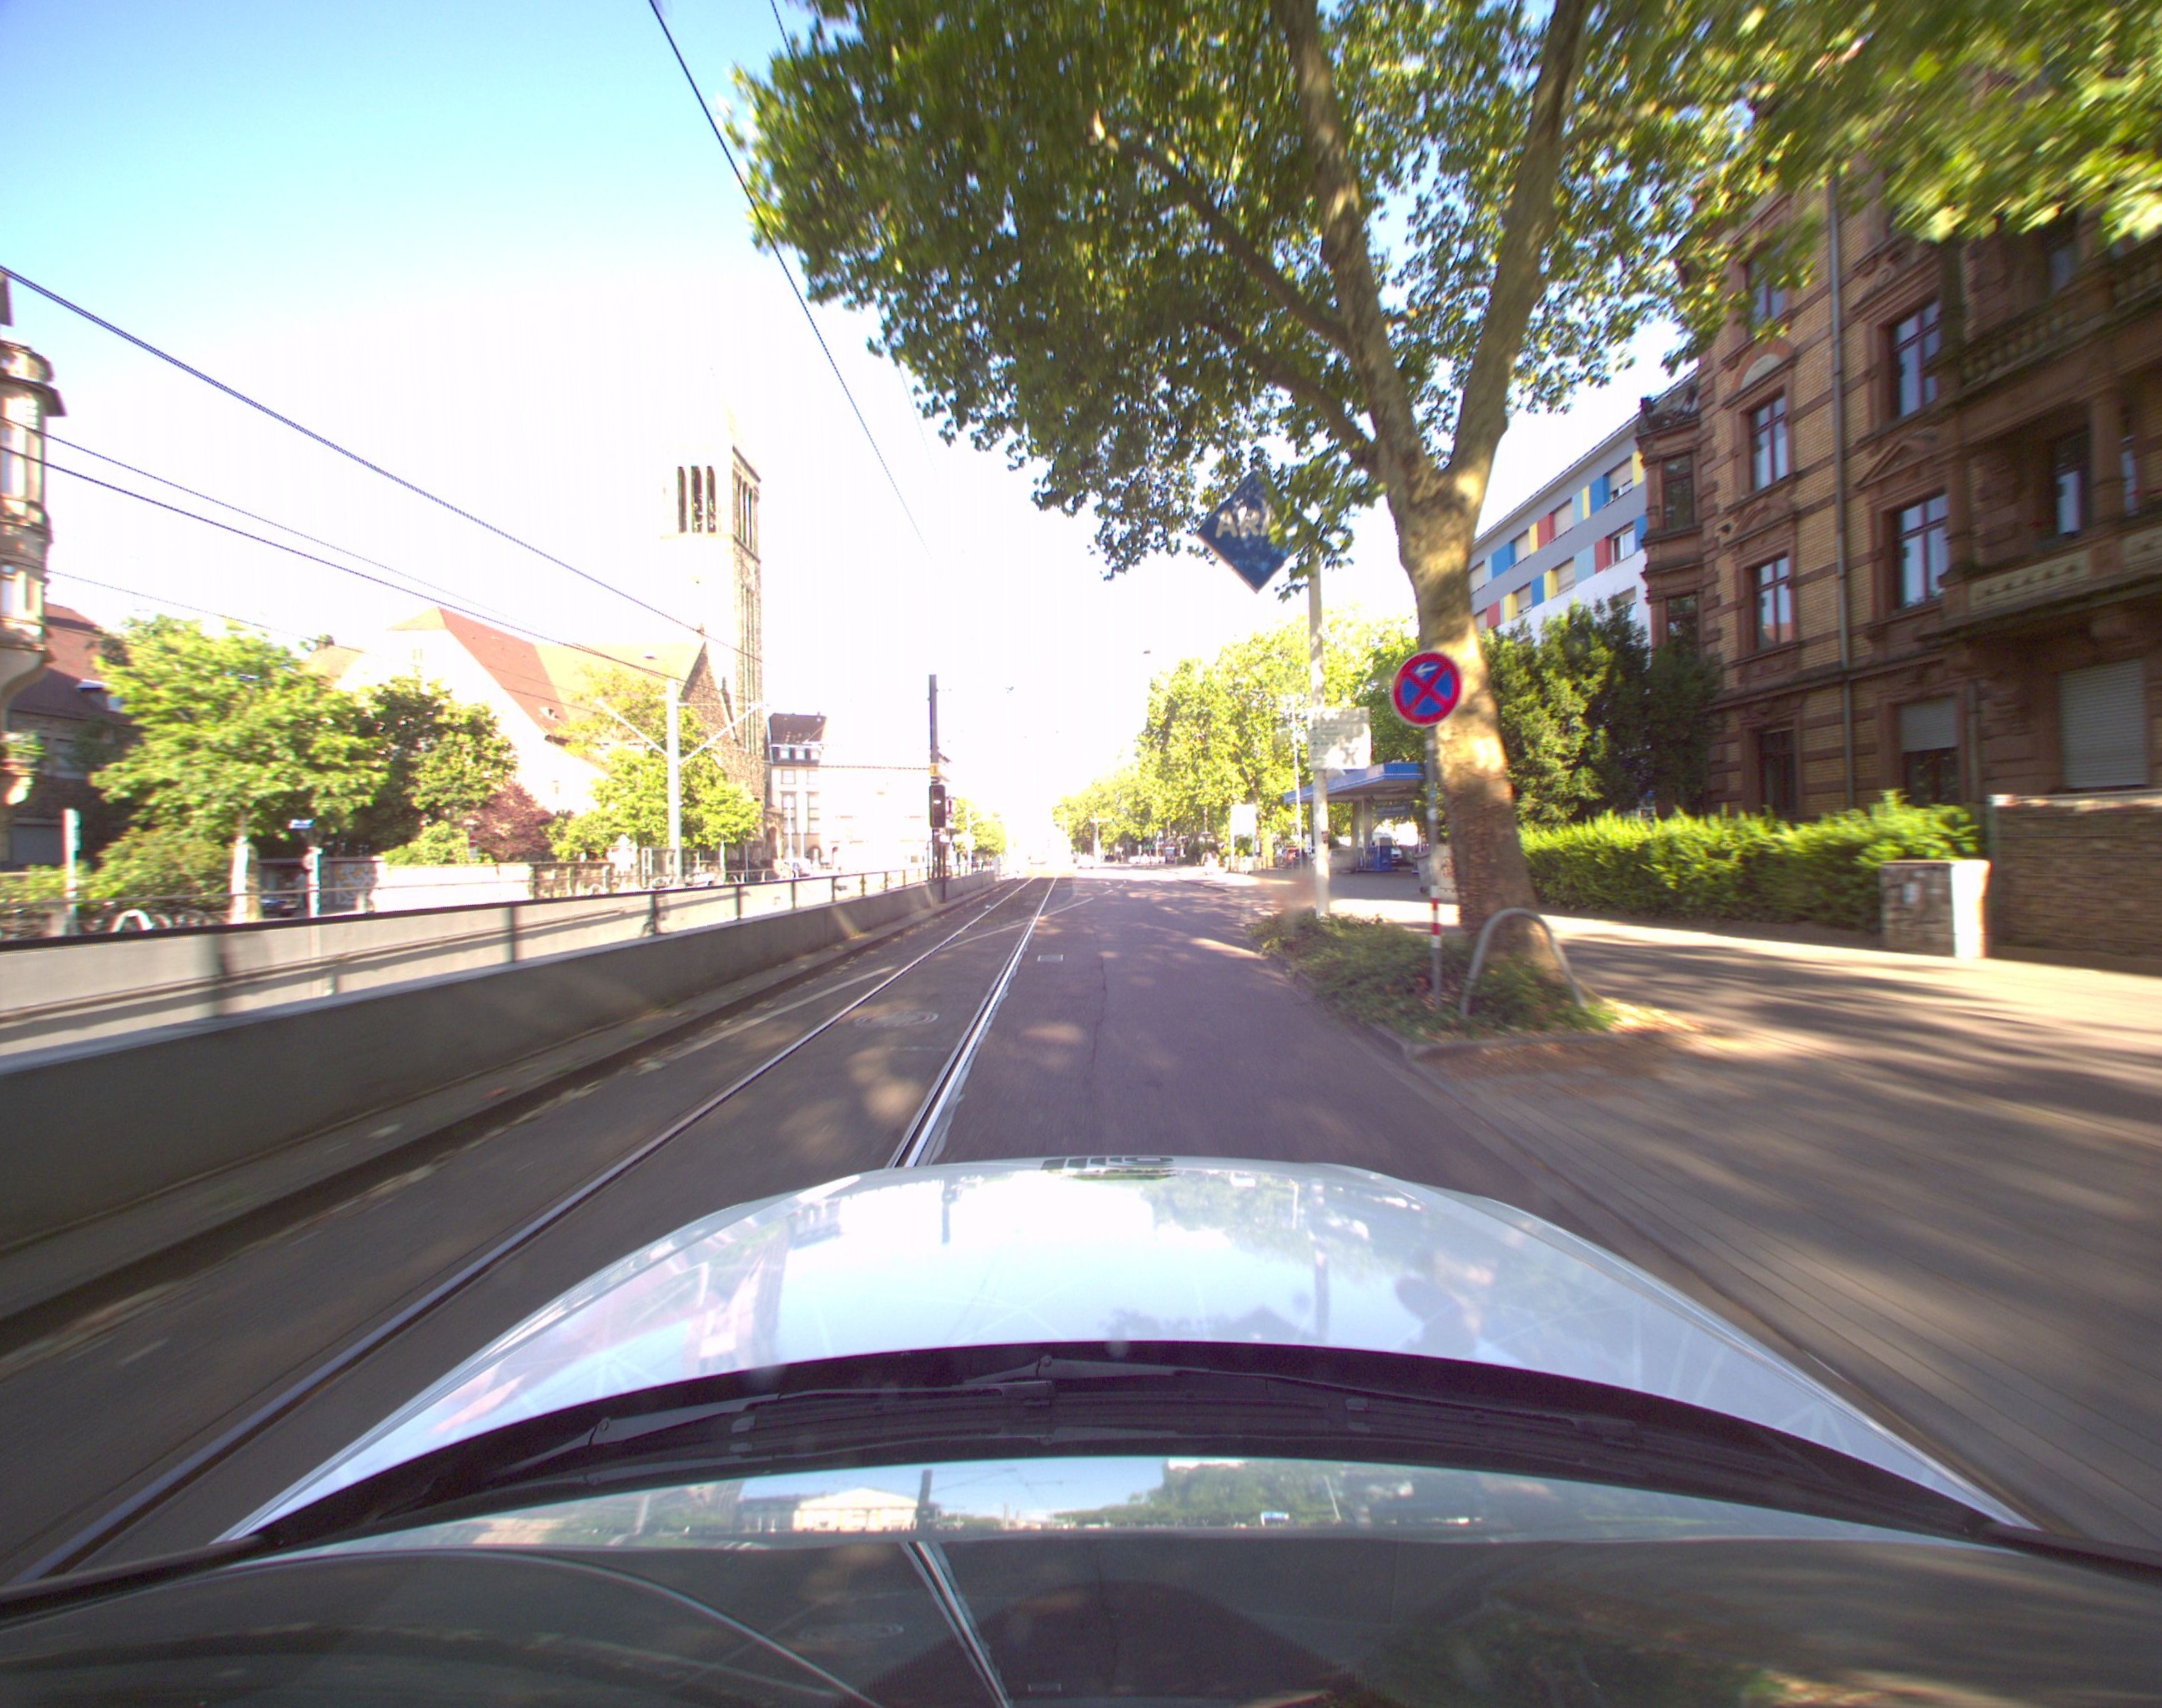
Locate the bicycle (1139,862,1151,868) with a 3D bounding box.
[{"bbox_3d":[9.695,1.679,122.688,1.199,0.934,2.565,1,0,-10],"label":"bicycle"}]

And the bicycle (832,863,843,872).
[{"bbox_3d":[-33.756,1.865,112.919,0.827,1.283,2.539,1,0,-32],"label":"bicycle"}]

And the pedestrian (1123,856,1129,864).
[{"bbox_3d":[7.474,0.972,136.265,0.653,1.388,0.837,0,0,31],"label":"pedestrian"}]

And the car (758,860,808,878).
[{"bbox_3d":[-28.341,1.432,77.592,3.972,1.629,1.895,1,0,1],"label":"car"}]

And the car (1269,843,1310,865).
[{"bbox_3d":[16.665,-0.010,65.250,1.813,1.602,4.656,-2,1,-3],"label":"car"}]

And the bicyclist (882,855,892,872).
[{"bbox_3d":[-20.658,0.982,86.829,0.628,1.722,0.917,-4,0,6],"label":"bicyclist"}]

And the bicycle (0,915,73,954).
[{"bbox_3d":[-24.827,1.885,18.910,0.415,0.800,1.888,1,0,2],"label":"bicycle"}]

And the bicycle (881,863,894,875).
[{"bbox_3d":[-20.626,1.606,86.785,0.628,1.144,2.283,-4,0,6],"label":"bicycle"}]

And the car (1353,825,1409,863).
[{"bbox_3d":[24.095,-0.789,65.621,2.234,2.833,5.795,-2,0,-1],"label":"car"}]

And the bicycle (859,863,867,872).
[{"bbox_3d":[-30.729,1.895,114.726,0.821,1.282,2.557,1,0,-9],"label":"bicycle"}]

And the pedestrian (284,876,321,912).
[{"bbox_3d":[-35.337,1.819,36.977,0.739,1.588,0.938,1,0,15],"label":"pedestrian"}]

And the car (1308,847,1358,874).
[{"bbox_3d":[14.679,0.353,47.610,1.563,1.430,4.096,-2,0,-1],"label":"car"}]

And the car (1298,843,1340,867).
[{"bbox_3d":[18.804,0.044,64.562,1.854,1.735,4.797,-2,1,-1],"label":"car"}]

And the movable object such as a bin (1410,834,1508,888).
[{"bbox_3d":[11.181,0.188,24.174,2.032,1.491,1.743,-2,0,-5],"label":"movable object such as a bin"}]

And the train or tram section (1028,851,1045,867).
[{"bbox_3d":[-9.243,1.007,170.765,2.943,3.410,10.788,1,0,0],"label":"train or tram section"}]

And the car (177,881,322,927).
[{"bbox_3d":[-34.518,2.050,33.913,3.977,1.651,1.818,-2,0,-3],"label":"car"}]

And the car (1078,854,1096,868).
[{"bbox_3d":[0.590,0.758,86.844,1.740,1.462,3.642,1,0,-2],"label":"car"}]

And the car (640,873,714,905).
[{"bbox_3d":[-22.110,1.871,44.803,1.710,1.555,4.511,1,0,1],"label":"car"}]

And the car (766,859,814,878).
[{"bbox_3d":[-28.714,1.449,80.473,3.972,1.756,1.895,1,0,1],"label":"car"}]

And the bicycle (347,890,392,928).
[{"bbox_3d":[-21.649,1.638,24.803,0.487,1.022,1.878,1,0,-25],"label":"bicycle"}]

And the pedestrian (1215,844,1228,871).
[{"bbox_3d":[9.314,0.236,54.078,0.600,1.776,0.690,-5,0,3],"label":"pedestrian"}]

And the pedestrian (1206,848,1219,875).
[{"bbox_3d":[8.718,0.487,54.103,0.600,1.776,0.879,-5,0,3],"label":"pedestrian"}]

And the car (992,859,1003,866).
[{"bbox_3d":[-18.621,1.816,182.593,1.987,1.449,4.839,-2,0,0],"label":"car"}]

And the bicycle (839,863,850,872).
[{"bbox_3d":[-32.976,1.873,113.401,0.827,1.283,2.539,1,0,-32],"label":"bicycle"}]

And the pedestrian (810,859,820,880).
[{"bbox_3d":[-25.095,1.461,76.786,0.603,1.887,0.757,1,0,2],"label":"pedestrian"}]

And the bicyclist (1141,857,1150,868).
[{"bbox_3d":[9.702,1.279,122.725,1.199,1.696,0.901,1,0,-10],"label":"bicyclist"}]
